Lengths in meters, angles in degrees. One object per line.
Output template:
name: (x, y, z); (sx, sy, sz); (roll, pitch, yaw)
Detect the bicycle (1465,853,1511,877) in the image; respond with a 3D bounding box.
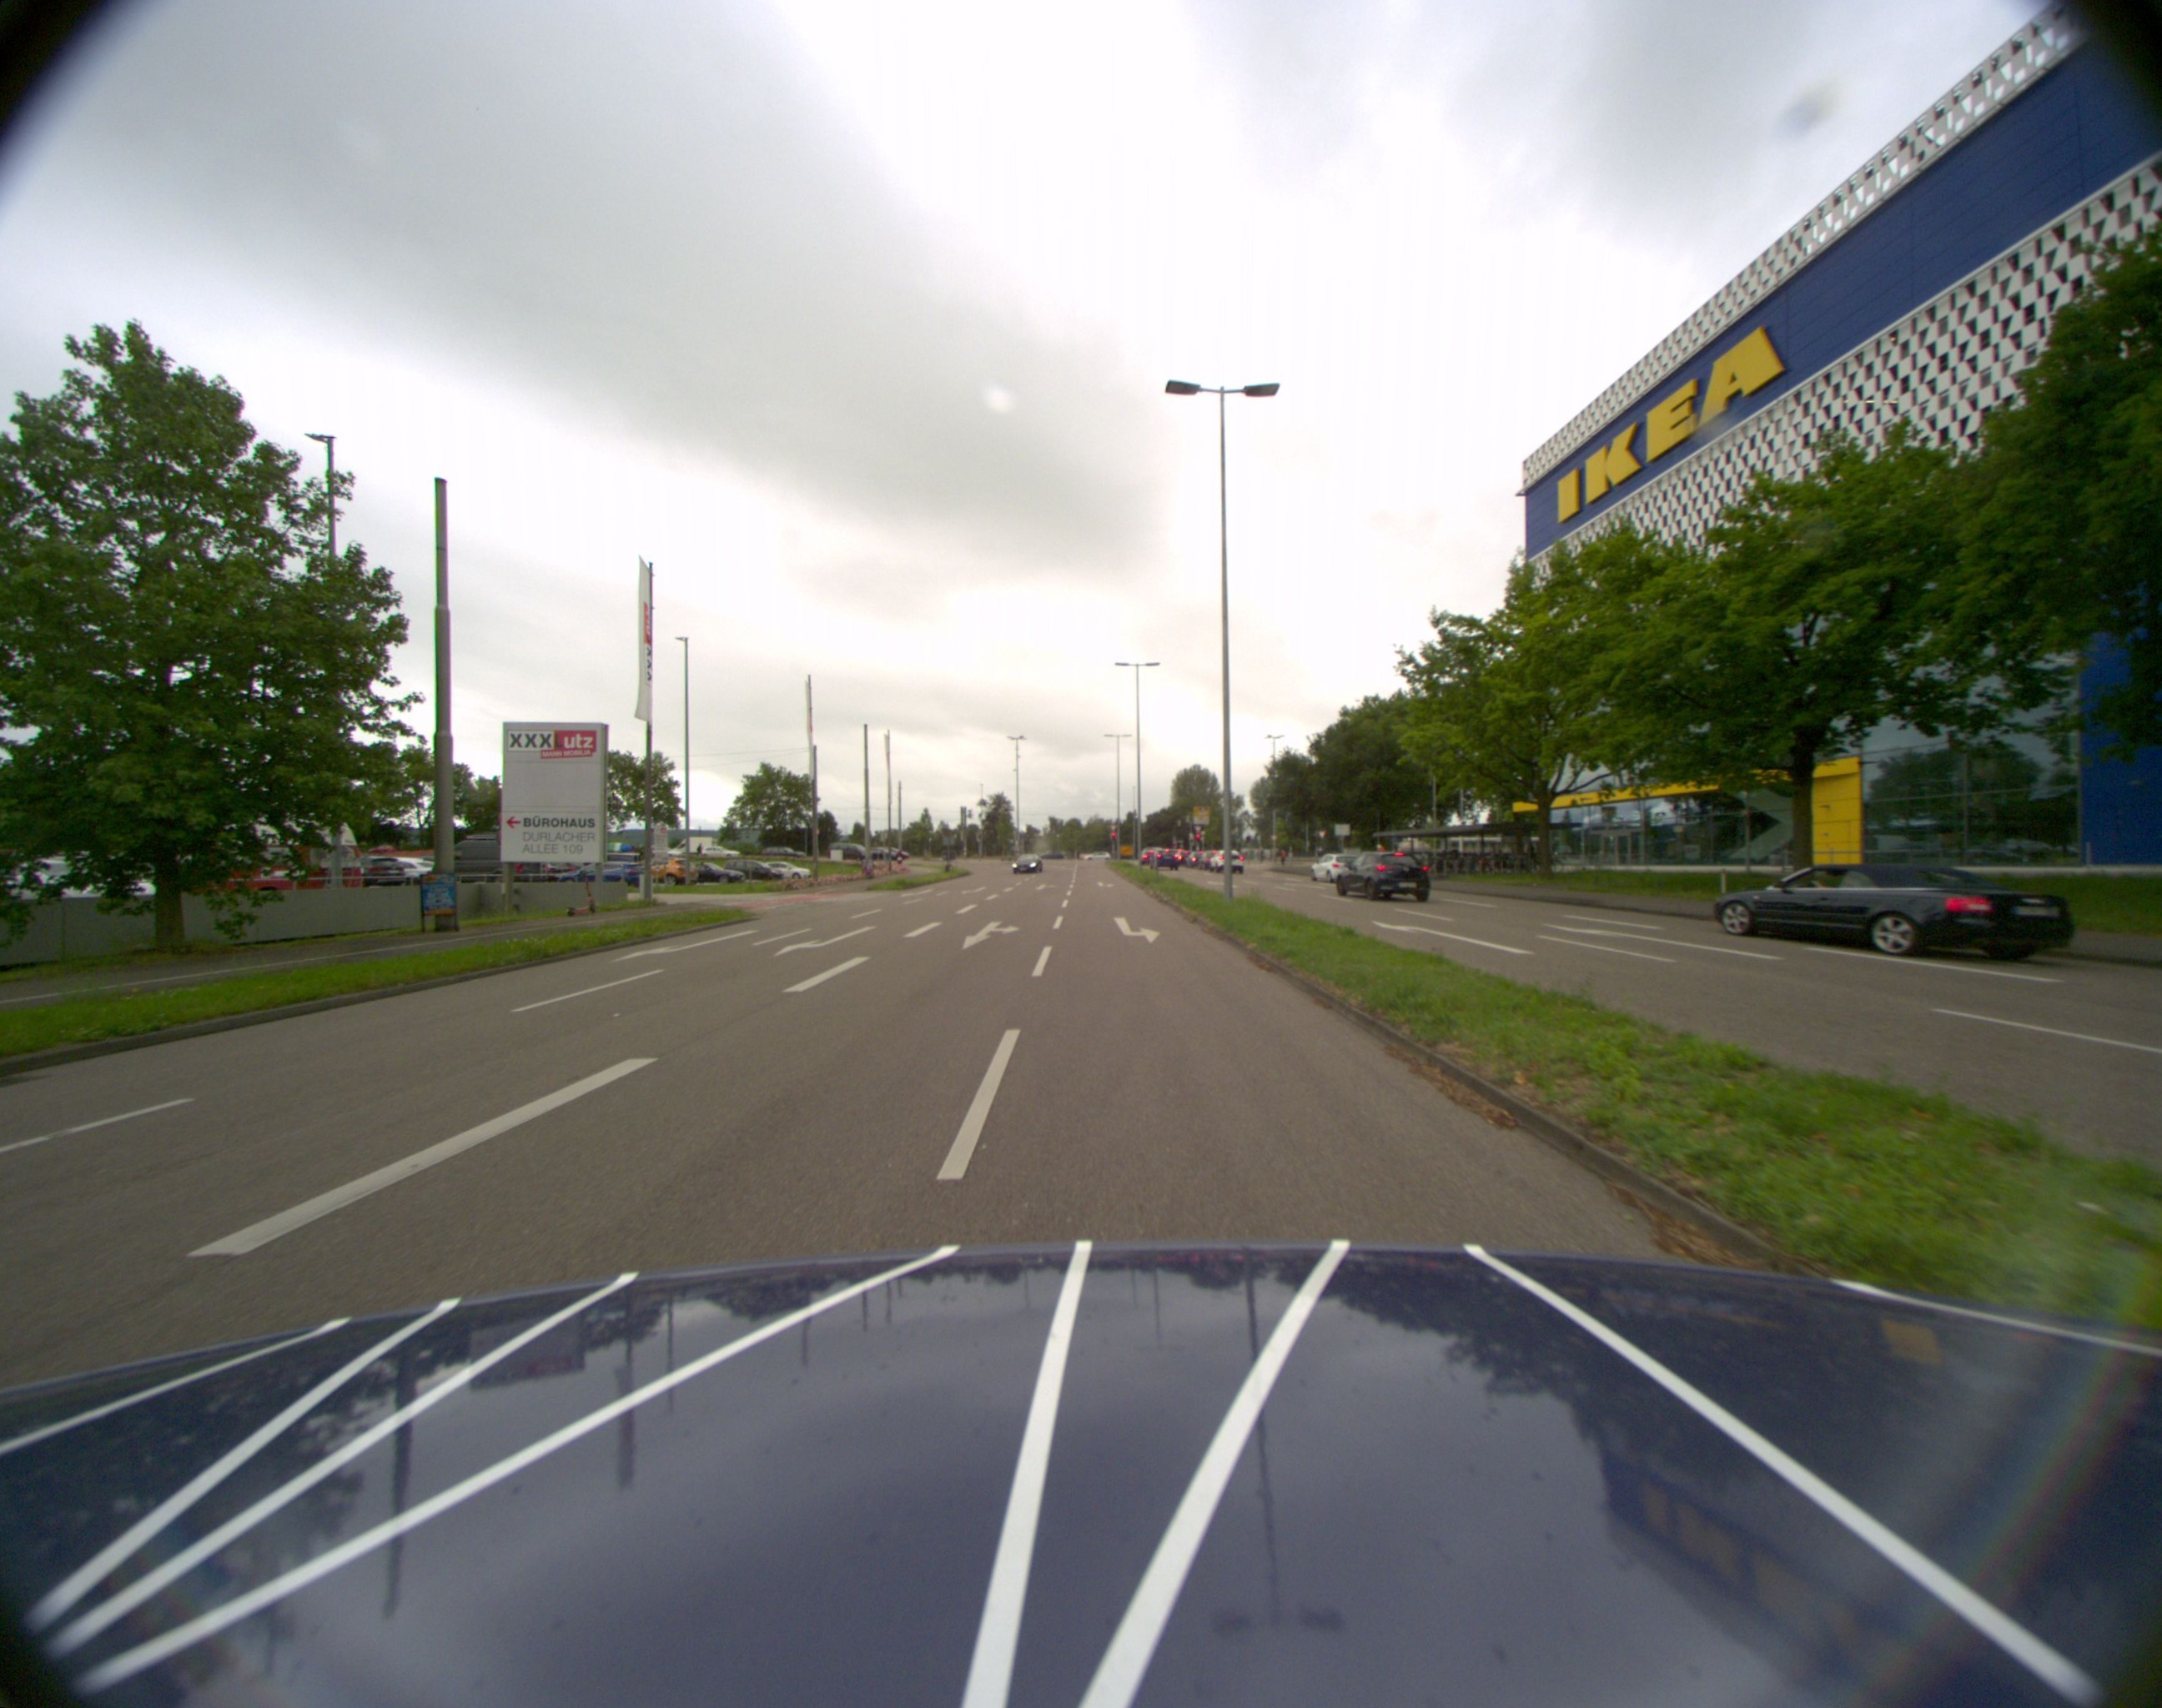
bicycle: (21.539, 0.586, 40.235); (2.018, 1.150, 0.594); (-2, 1, 15)

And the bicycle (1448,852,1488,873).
bicycle: (23.137, 0.507, 45.432); (2.020, 1.150, 0.593); (-3, 1, 1)

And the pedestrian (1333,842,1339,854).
pedestrian: (36.596, -0.900, 108.973); (0.586, 1.731, 0.788); (-1, -1, 3)

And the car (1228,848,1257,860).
car: (25.556, 0.027, 120.263); (4.080, 1.723, 1.776); (-1, -1, -4)

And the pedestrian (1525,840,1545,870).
pedestrian: (27.355, 0.062, 45.787); (0.679, 1.735, 0.808); (-1, 0, 0)

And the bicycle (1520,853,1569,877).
bicycle: (23.342, 0.532, 38.272); (2.020, 1.116, 0.594); (-3, 1, 3)

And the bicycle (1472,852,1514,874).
bicycle: (23.381, 0.501, 43.100); (2.020, 1.150, 0.593); (-3, 1, 1)

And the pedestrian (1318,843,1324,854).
pedestrian: (34.263, -0.820, 108.559); (0.632, 1.550, 0.711); (-1, -1, 2)

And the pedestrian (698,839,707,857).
pedestrian: (-39.196, -0.637, 78.760); (0.545, 1.771, 0.636); (-1, -1, 29)

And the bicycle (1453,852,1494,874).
bicycle: (22.822, 0.521, 44.211); (2.020, 1.150, 0.593); (-3, 1, 1)

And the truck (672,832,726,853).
truck: (-56.176, -1.659, 111.803); (6.542, 2.905, 2.828); (0, -1, -4)

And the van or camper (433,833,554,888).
van or camper: (-32.498, 0.343, 42.071); (5.390, 2.966, 1.992); (0, 1, 7)

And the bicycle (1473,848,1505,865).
bicycle: (29.420, 0.195, 54.796); (2.021, 1.150, 0.593); (-2, 1, -1)

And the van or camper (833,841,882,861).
van or camper: (-24.353, -0.296, 82.779); (4.743, 2.003, 2.126); (1, 3, 16)

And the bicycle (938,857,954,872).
bicycle: (-9.910, 0.785, 55.701); (0.664, 1.042, 1.692); (-1, 1, 7)

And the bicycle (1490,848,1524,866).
bicycle: (29.363, 0.214, 52.403); (2.021, 1.150, 0.593); (-2, 1, -1)

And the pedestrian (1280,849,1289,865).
pedestrian: (21.041, 0.263, 78.528); (0.635, 1.633, 0.809); (-1, 3, -2)

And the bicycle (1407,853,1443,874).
bicycle: (21.108, 0.580, 46.636); (1.898, 1.150, 0.593); (-3, 1, 1)

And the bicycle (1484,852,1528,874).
bicycle: (23.385, 0.486, 41.798); (2.020, 1.150, 0.593); (-3, 1, 1)

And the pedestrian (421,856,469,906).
pedestrian: (-22.543, 0.960, 26.937); (0.942, 1.709, 0.886); (-1, -1, -1)

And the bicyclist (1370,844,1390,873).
bicyclist: (16.227, 0.244, 41.206); (0.642, 1.568, 1.000); (-2, 0, 0)

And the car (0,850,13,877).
car: (-64.254, 0.540, 43.624); (3.612, 1.551, 1.651); (1, 0, 2)

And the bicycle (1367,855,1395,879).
bicycle: (16.262, 0.671, 41.229); (0.644, 1.243, 2.056); (-2, 0, 0)

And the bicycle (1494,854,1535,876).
bicycle: (23.082, 0.570, 40.461); (1.814, 1.076, 0.593); (-3, 1, 1)

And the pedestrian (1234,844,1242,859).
pedestrian: (18.703, -0.332, 90.697); (0.664, 1.756, 0.686); (2, 4, -3)

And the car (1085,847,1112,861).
car: (2.762, -0.035, 119.242); (3.998, 2.002, 1.947); (-1, 1, -3)

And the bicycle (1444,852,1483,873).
bicycle: (23.215, 0.528, 46.140); (2.020, 1.150, 0.593); (-3, 1, 1)

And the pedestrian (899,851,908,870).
pedestrian: (-15.720, 0.559, 67.287); (0.717, 1.589, 0.782); (-1, 3, -12)

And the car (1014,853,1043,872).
car: (-4.078, 0.618, 59.754); (1.999, 1.383, 4.342); (-1, 1, -1)

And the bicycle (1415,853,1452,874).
bicycle: (21.129, 0.572, 45.555); (1.898, 1.150, 0.593); (-3, 1, 1)

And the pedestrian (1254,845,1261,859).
pedestrian: (21.844, -0.292, 94.165); (0.675, 1.702, 0.766); (0, 1, 4)

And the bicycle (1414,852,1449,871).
bicycle: (23.017, 0.471, 49.924); (2.018, 1.150, 0.594); (-2, 1, 17)
